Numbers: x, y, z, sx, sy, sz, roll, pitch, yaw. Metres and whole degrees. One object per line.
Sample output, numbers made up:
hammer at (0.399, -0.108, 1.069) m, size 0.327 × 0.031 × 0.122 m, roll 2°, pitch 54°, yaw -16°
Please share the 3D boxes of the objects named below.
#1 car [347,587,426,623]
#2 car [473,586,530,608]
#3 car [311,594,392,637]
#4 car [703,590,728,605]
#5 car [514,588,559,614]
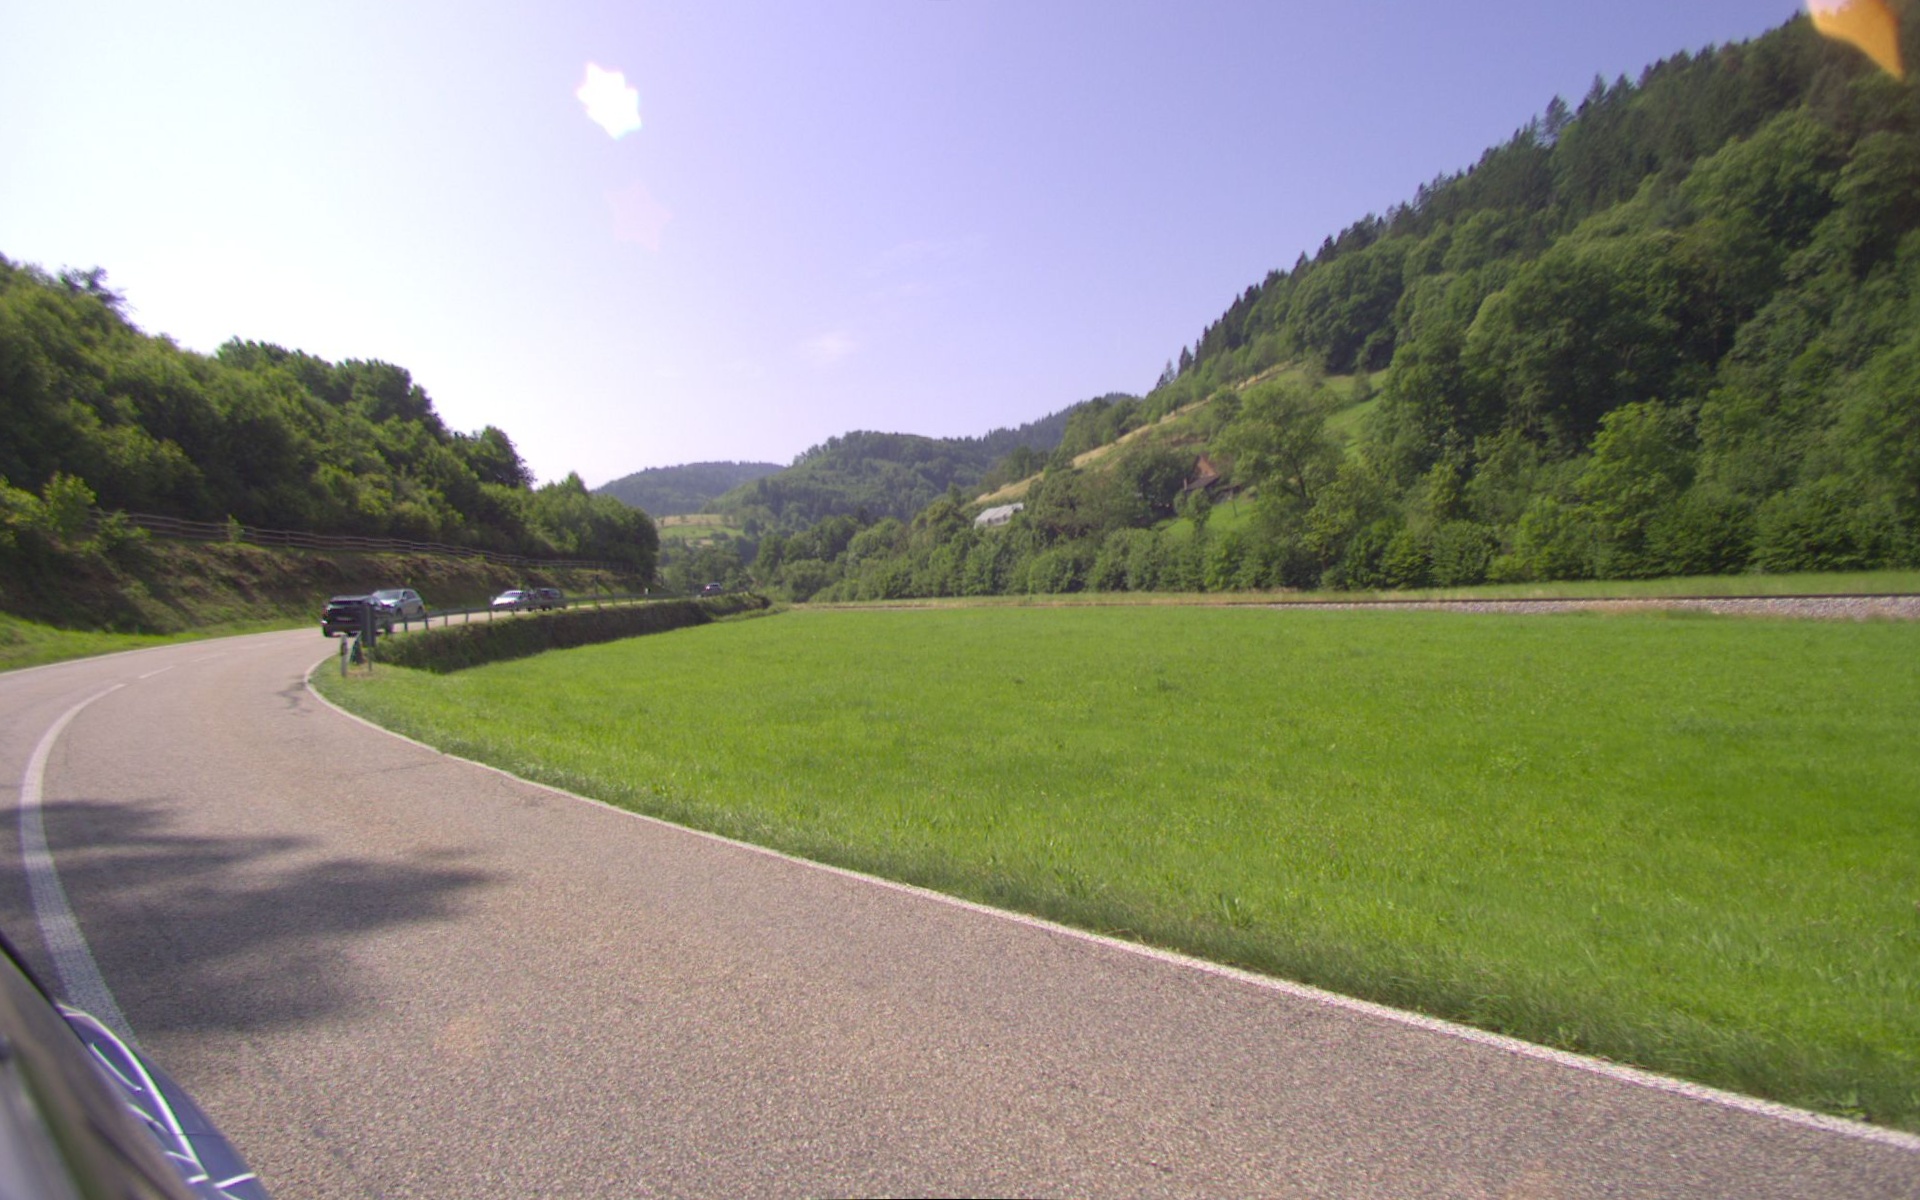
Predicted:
car at (-31.161, 0.283, 55.143) m, size 2.086 × 1.828 × 4.461 m, roll -2°, pitch 0°, yaw -6°
car at (-32.969, -0.221, 72.961) m, size 2.116 × 1.502 × 4.674 m, roll -1°, pitch 0°, yaw -2°
car at (-24.941, 0.591, 41.637) m, size 1.849 × 1.599 × 4.610 m, roll -1°, pitch 1°, yaw -18°
car at (-29.071, -0.330, 120.554) m, size 1.691 × 1.687 × 3.996 m, roll -3°, pitch 0°, yaw 3°
car at (-29.677, 0.095, 71.101) m, size 1.924 × 1.753 × 4.907 m, roll 0°, pitch 0°, yaw -10°
